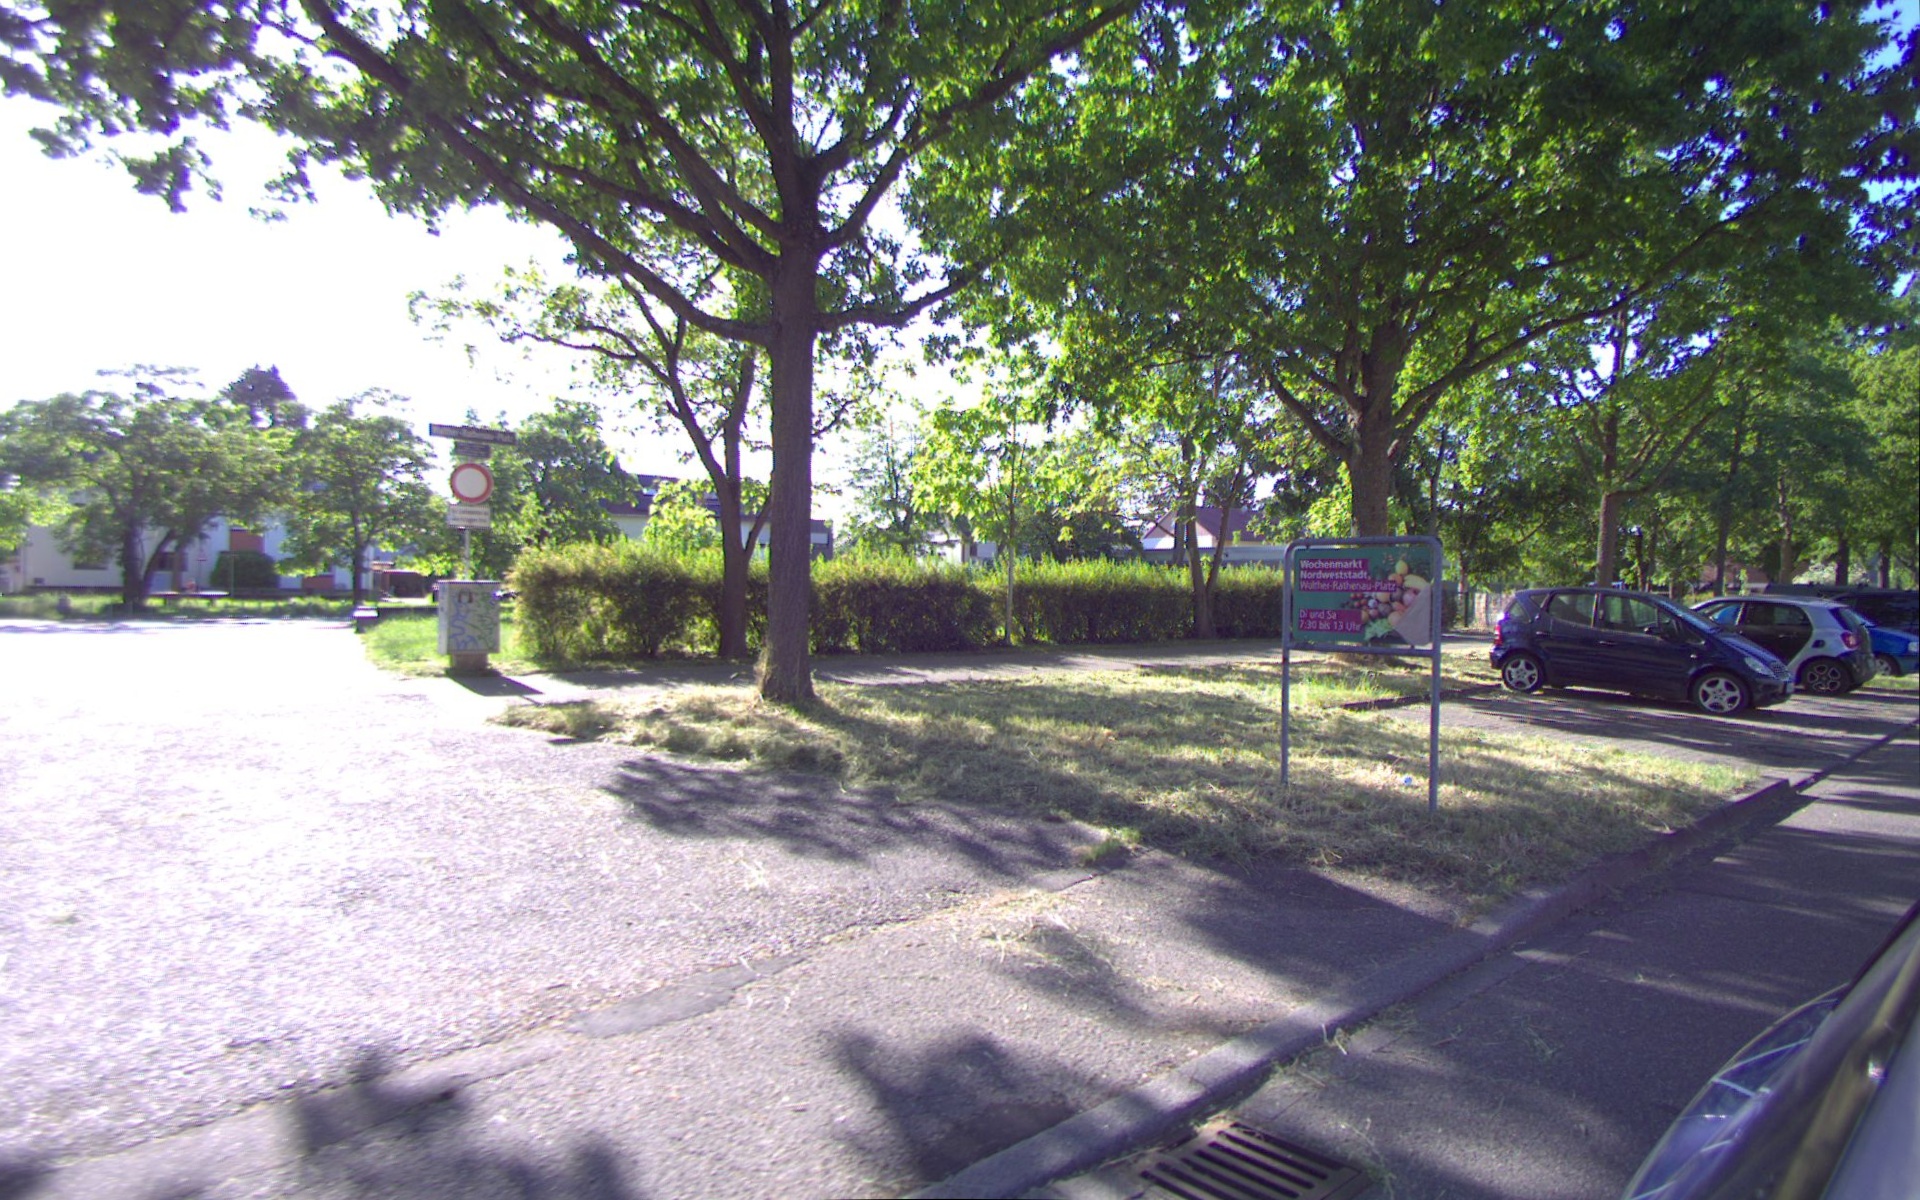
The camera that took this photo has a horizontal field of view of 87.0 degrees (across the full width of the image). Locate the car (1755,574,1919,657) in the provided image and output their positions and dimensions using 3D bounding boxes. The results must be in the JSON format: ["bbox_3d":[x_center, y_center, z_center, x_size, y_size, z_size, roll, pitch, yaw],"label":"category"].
[{"bbox_3d":[24.556,0.390,27.123,1.910,2.057,4.813,0,2,-41],"label":"car"}]

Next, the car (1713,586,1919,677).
[{"bbox_3d":[17.367,0.573,20.111,1.635,1.551,3.530,0,2,-39],"label":"car"}]

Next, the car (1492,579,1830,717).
[{"bbox_3d":[9.842,0.563,14.398,1.825,1.596,3.591,0,2,-41],"label":"car"}]

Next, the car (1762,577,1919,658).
[{"bbox_3d":[22.898,0.410,25.447,1.769,1.859,4.014,0,2,-43],"label":"car"}]

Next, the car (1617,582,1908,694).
[{"bbox_3d":[13.661,0.552,17.386,1.754,1.596,3.593,0,2,-39],"label":"car"}]
